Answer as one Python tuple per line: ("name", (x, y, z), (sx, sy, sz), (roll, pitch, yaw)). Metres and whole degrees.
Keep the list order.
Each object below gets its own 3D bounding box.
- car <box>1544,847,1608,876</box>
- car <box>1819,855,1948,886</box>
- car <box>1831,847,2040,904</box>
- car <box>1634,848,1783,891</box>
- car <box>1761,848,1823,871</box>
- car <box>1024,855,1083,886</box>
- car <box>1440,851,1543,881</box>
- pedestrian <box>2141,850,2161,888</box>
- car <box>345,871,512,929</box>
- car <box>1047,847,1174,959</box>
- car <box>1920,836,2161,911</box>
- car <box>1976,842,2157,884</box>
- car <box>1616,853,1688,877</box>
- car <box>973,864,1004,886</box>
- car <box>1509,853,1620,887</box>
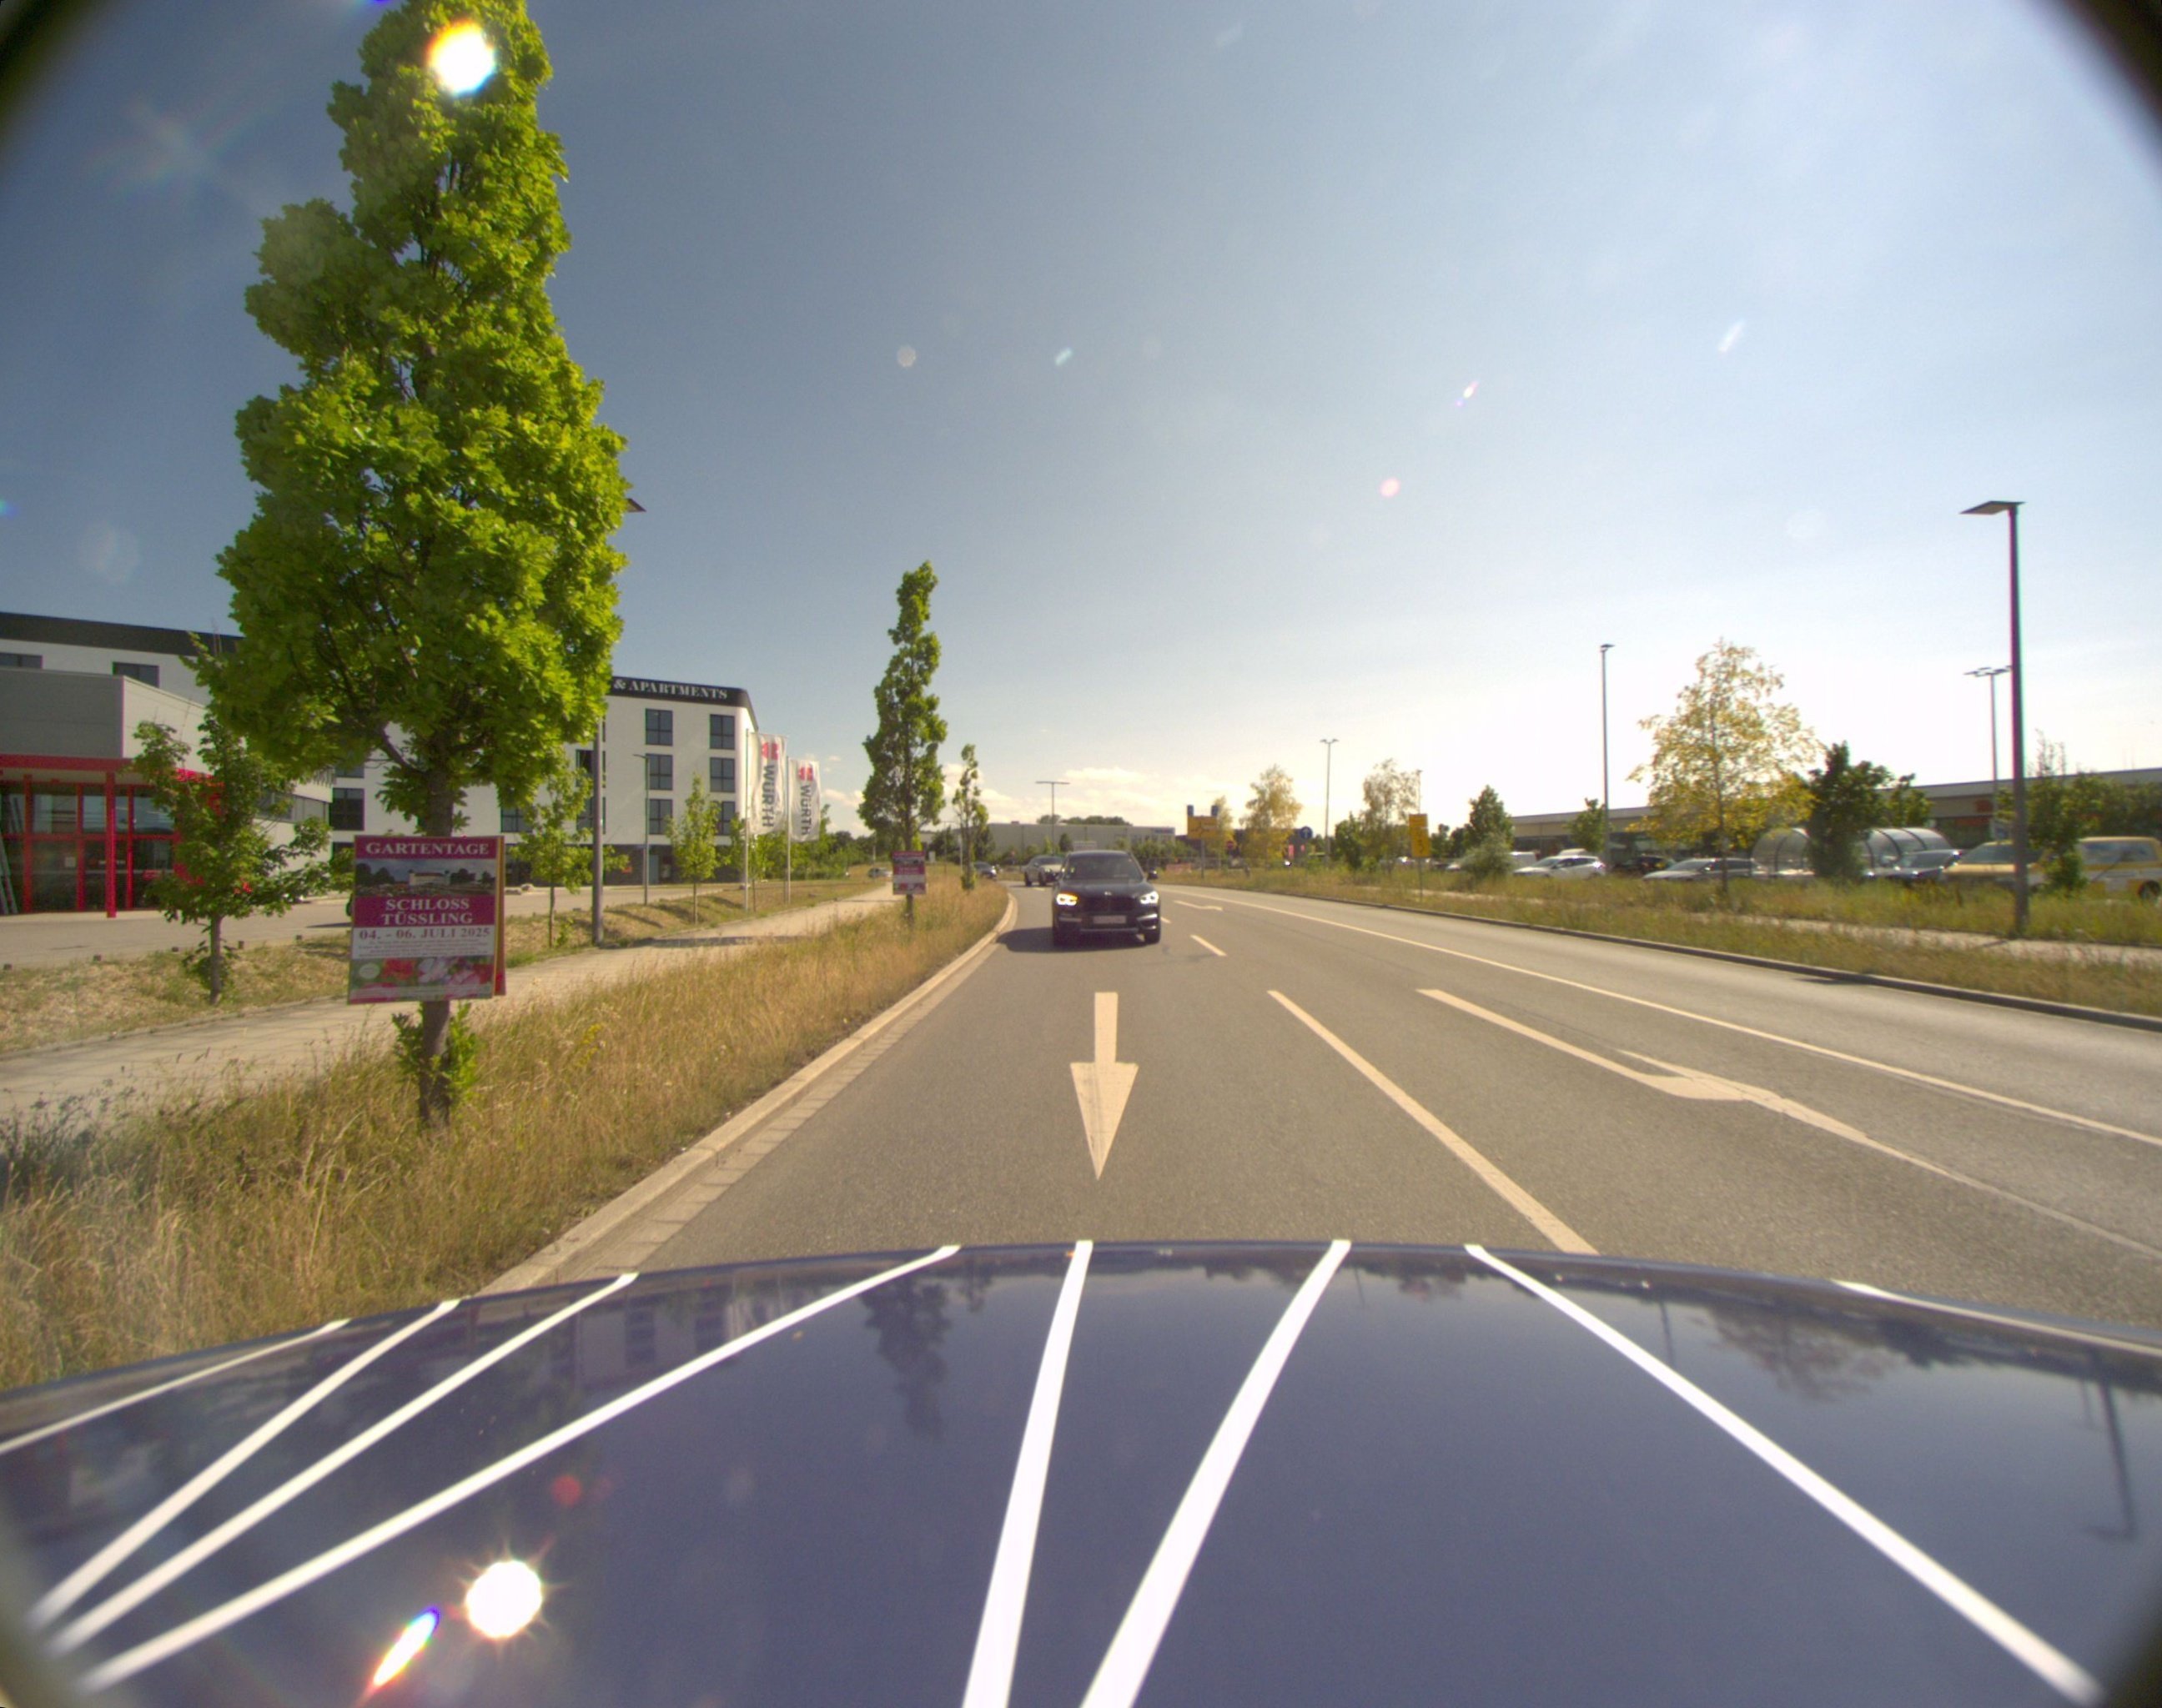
("car", (45.051, 0.675, 69.093), (5.725, 2.572, 1.936), (0, 0, -22))
("car", (41.093, 0.814, 39.049), (1.719, 1.507, 4.233), (0, 0, -20))
("car", (26.467, 0.634, 23.615), (4.782, 1.662, 1.881), (0, 0, -6))
("car", (25.718, 0.624, 31.240), (4.716, 1.662, 1.999), (0, 0, -6))
("car", (50.365, 0.369, 53.788), (4.360, 1.555, 1.714), (0, 0, -25))
("car", (-1.661, 0.959, 43.424), (2.117, 1.633, 4.771), (-1, -2, -18))
("car", (23.712, 0.657, 43.904), (5.199, 1.662, 1.998), (0, 0, -13))
("pedestrian", (41.902, 0.580, 29.689), (0.510, 1.456, 0.413), (-1, 0, -18))
("car", (-18.121, 1.216, 21.359), (1.518, 1.399, 3.998), (0, 0, -5))
("car", (0.362, 0.819, 13.934), (1.901, 1.669, 4.466), (-1, -2, -3))
("car", (27.382, 0.518, 21.420), (5.698, 1.953, 1.999), (0, 0, -6))
("car", (43.398, 0.403, 33.643), (1.718, 1.730, 4.577), (0, 0, -17))
("car", (37.667, 0.697, 50.136), (4.003, 1.543, 1.841), (0, 0, -19))
("car", (-7.475, 1.664, 61.215), (1.759, 1.677, 4.375), (0, 0, -17))
("car", (24.714, 0.781, 38.937), (4.604, 1.662, 1.999), (0, 0, -8))
